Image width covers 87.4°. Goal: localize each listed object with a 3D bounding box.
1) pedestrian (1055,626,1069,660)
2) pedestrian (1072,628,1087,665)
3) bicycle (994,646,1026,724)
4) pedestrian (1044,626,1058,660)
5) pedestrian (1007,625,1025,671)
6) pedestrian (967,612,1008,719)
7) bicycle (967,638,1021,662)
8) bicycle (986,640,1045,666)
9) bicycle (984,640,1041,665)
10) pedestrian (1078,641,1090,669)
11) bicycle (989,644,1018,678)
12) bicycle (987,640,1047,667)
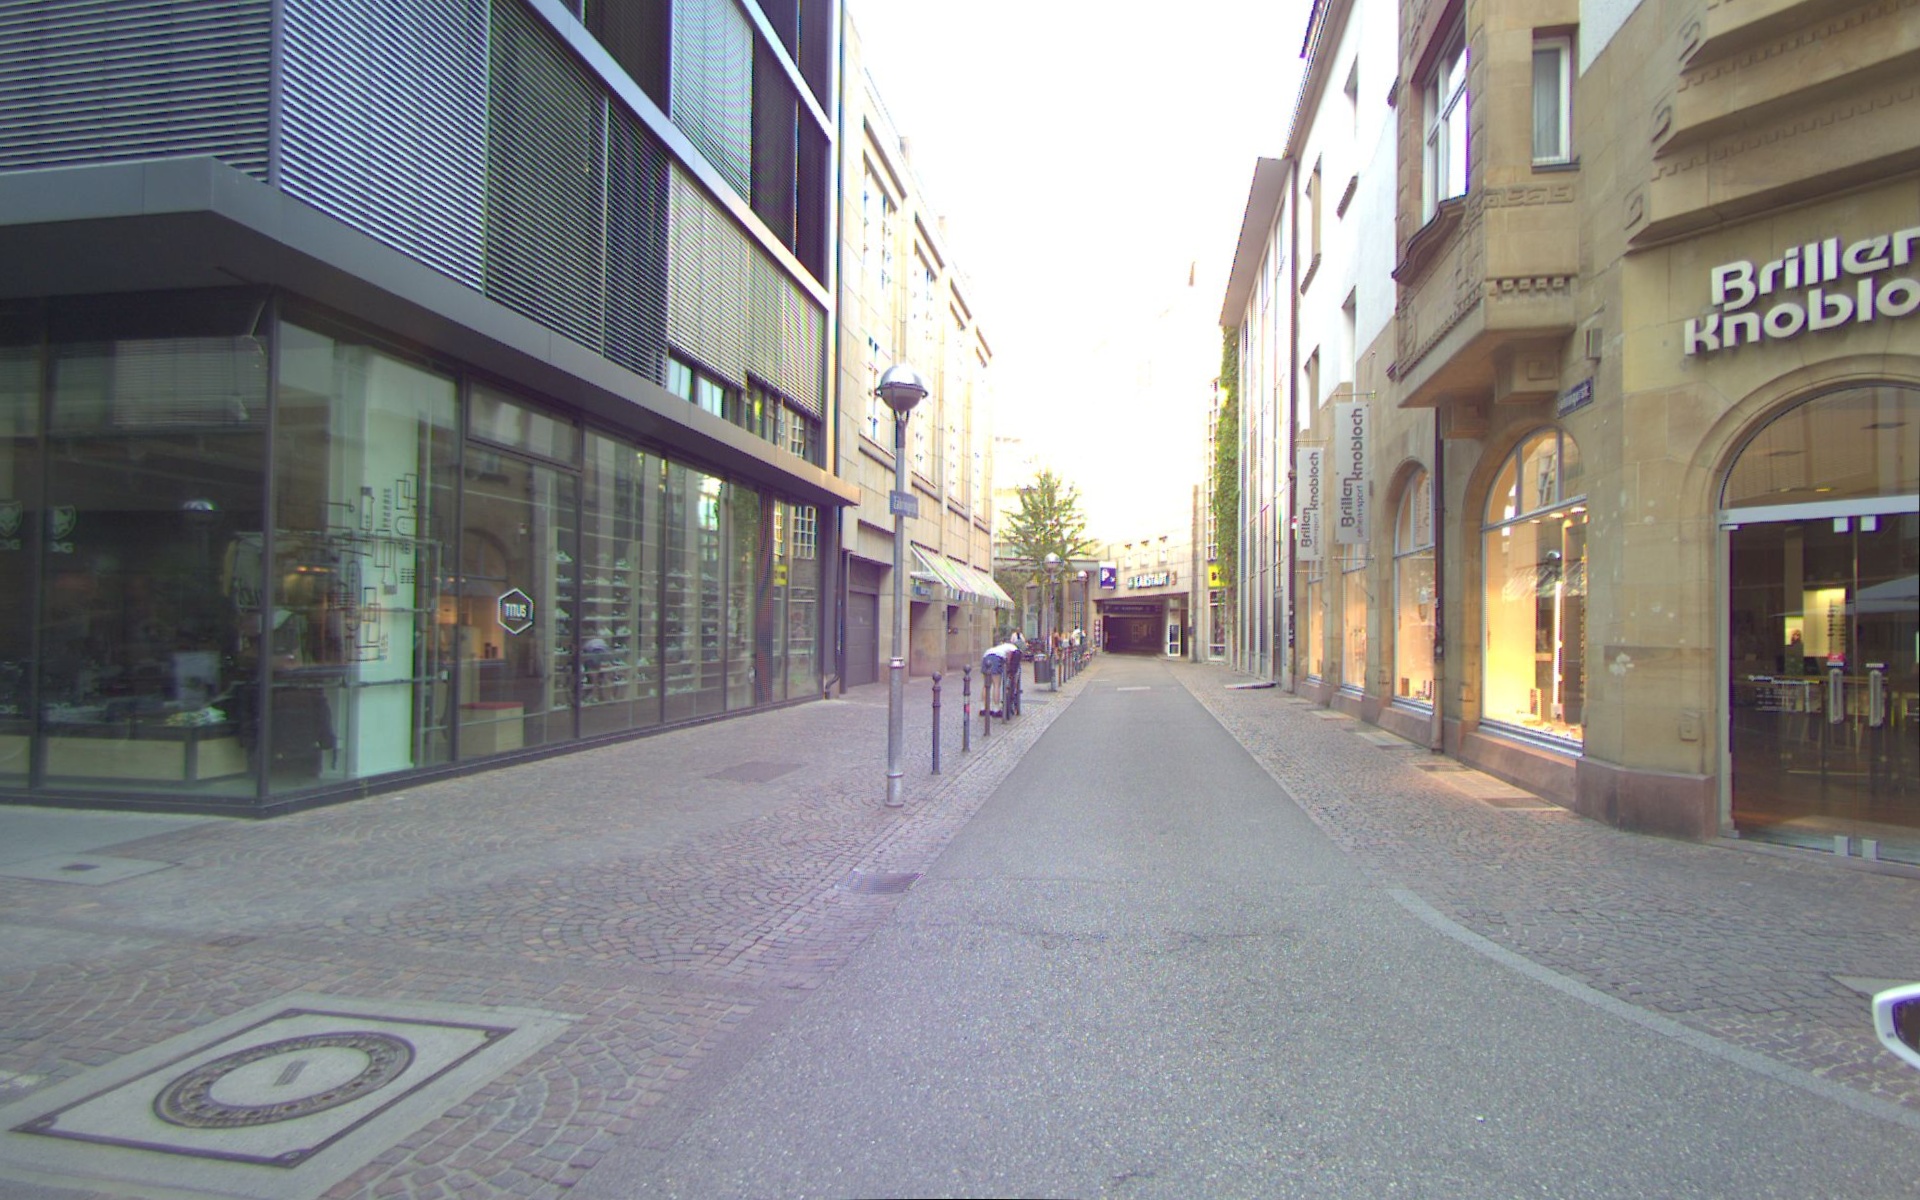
[{"bbox_3d":[4.898,2.066,48.233,0.574,1.625,0.628,1,-2,11],"label":"pedestrian"},{"bbox_3d":[5.796,2.242,48.812,0.619,1.780,0.799,1,-2,11],"label":"pedestrian"},{"bbox_3d":[0.883,1.446,17.464,0.404,1.248,1.828,0,-2,8],"label":"bicycle"},{"bbox_3d":[4.399,2.062,48.505,0.580,1.625,0.666,1,-2,11],"label":"pedestrian"},{"bbox_3d":[2.252,1.911,40.139,0.645,1.787,0.616,1,-1,-4],"label":"pedestrian"},{"bbox_3d":[0.491,1.127,17.538,0.598,1.814,0.911,0,-1,9],"label":"pedestrian"},{"bbox_3d":[1.772,2.600,51.991,2.716,1.216,0.732,1,-1,-9],"label":"bicycle"},{"bbox_3d":[2.671,2.546,48.495,2.716,1.216,0.732,1,-1,-9],"label":"bicycle"},{"bbox_3d":[2.566,2.599,49.521,2.716,1.216,0.732,1,-1,-9],"label":"bicycle"},{"bbox_3d":[5.475,2.421,44.223,0.458,1.183,0.522,1,-2,11],"label":"pedestrian"},{"bbox_3d":[1.491,2.060,34.232,0.472,1.095,2.243,0,-2,16],"label":"bicycle"},{"bbox_3d":[2.670,2.509,46.990,2.716,1.216,0.732,1,-1,-9],"label":"bicycle"}]
